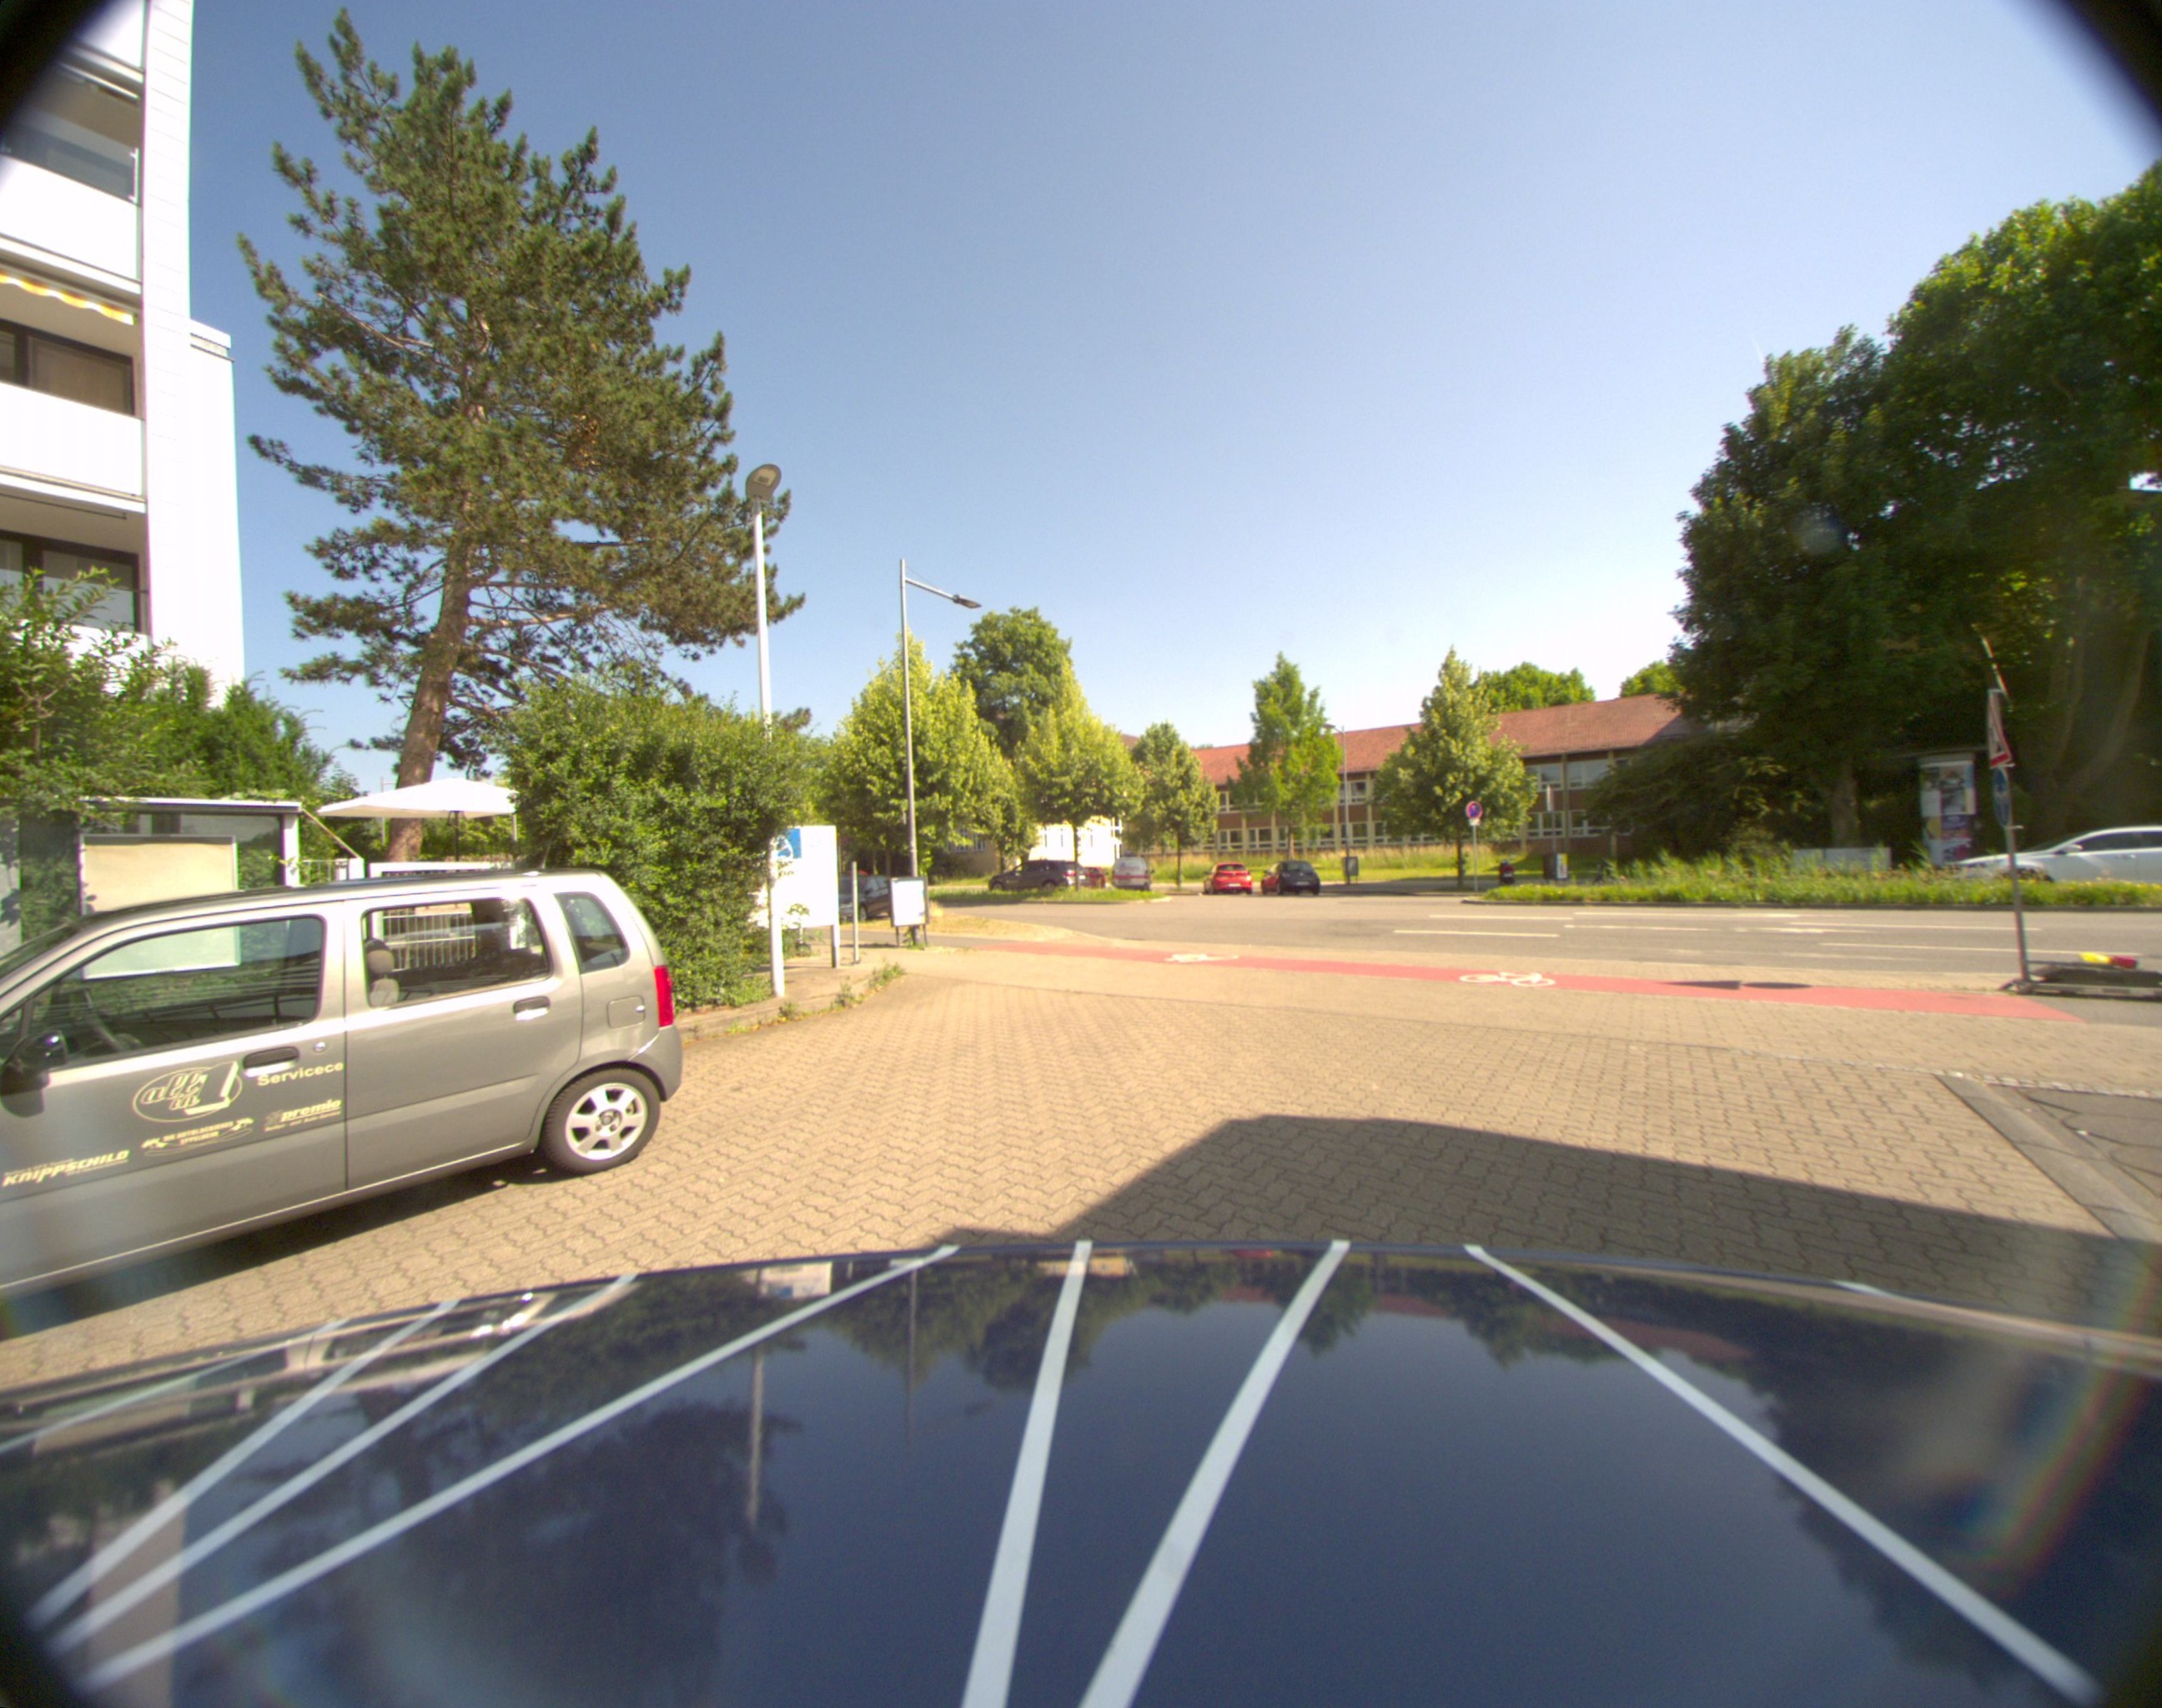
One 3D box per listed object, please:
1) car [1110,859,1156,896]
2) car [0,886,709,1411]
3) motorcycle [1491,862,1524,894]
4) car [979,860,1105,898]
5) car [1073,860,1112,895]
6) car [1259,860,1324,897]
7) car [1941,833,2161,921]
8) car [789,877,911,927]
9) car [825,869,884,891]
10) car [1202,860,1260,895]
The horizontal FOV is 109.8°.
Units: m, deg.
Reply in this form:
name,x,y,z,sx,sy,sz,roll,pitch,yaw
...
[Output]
name,x,y,z,sx,sy,sz,roll,pitch,yaw
car,2.620,1.136,37.327,1.879,1.712,4.230,0,-1,9
car,-3.998,1.080,3.485,1.687,1.608,3.669,-2,1,40
motorcycle,15.329,0.847,27.332,0.556,1.107,1.761,-2,0,14
car,-1.821,1.155,34.091,5.643,1.601,2.005,-2,-3,37
car,0.534,1.192,39.107,1.880,1.712,4.226,0,-2,-1
car,8.941,1.056,32.603,1.740,1.450,4.227,-1,-2,2
car,22.204,0.471,16.470,4.379,1.758,2.004,-2,0,37
car,-7.112,1.451,23.886,1.878,1.408,4.231,-1,-2,11
car,-14.941,1.715,50.350,1.877,1.382,3.733,-1,-2,19
car,6.689,1.050,34.268,1.880,1.451,4.227,0,-1,2
